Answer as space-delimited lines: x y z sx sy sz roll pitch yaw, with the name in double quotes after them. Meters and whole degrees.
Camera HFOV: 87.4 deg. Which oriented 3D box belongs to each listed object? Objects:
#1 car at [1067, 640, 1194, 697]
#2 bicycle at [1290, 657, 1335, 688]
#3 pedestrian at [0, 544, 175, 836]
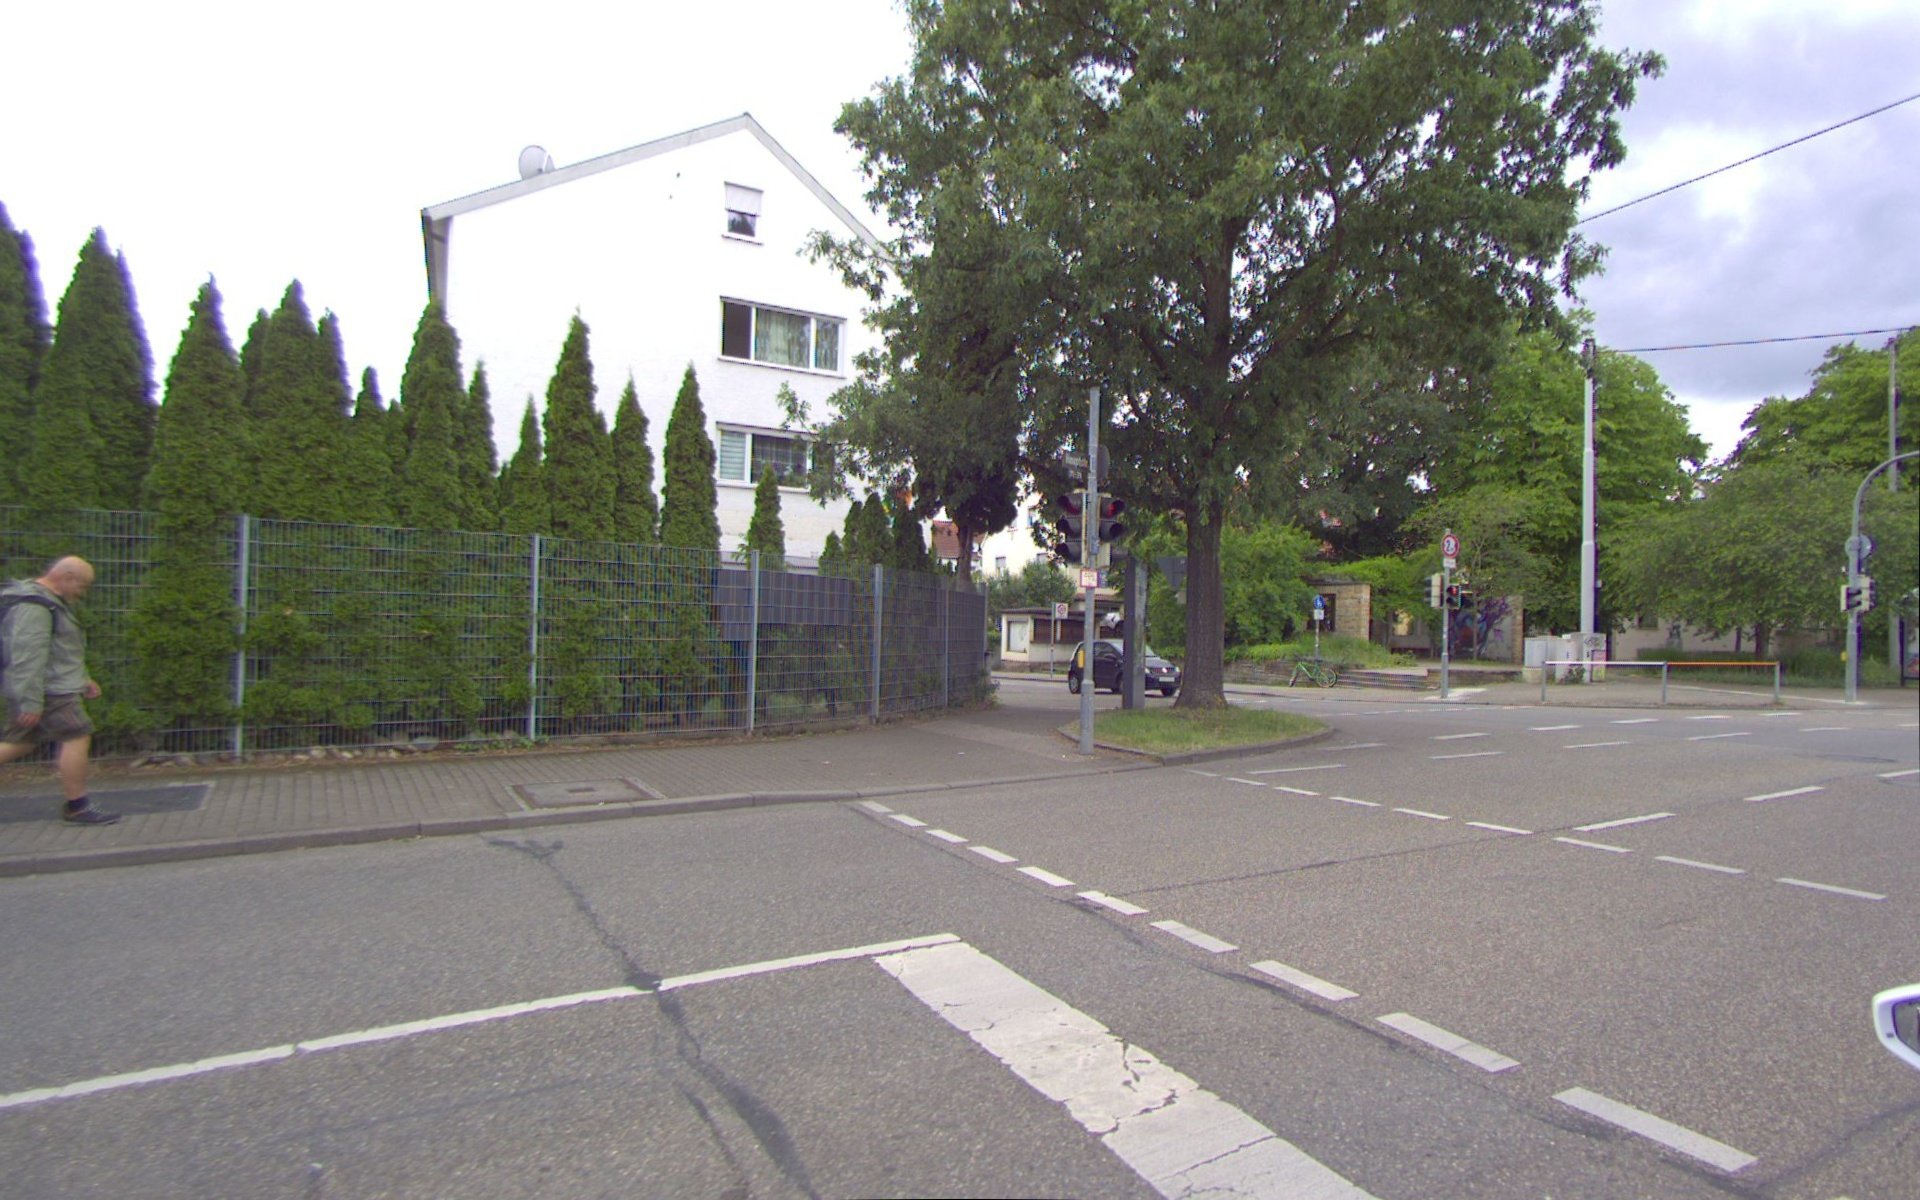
4.620 1.831 27.667 1.747 1.417 3.625 2 -2 -24 "car"
11.081 2.271 31.581 0.422 0.954 1.304 2 -5 -39 "bicycle"
-5.969 0.548 6.529 1.216 1.777 0.817 2 0 -31 "pedestrian"
